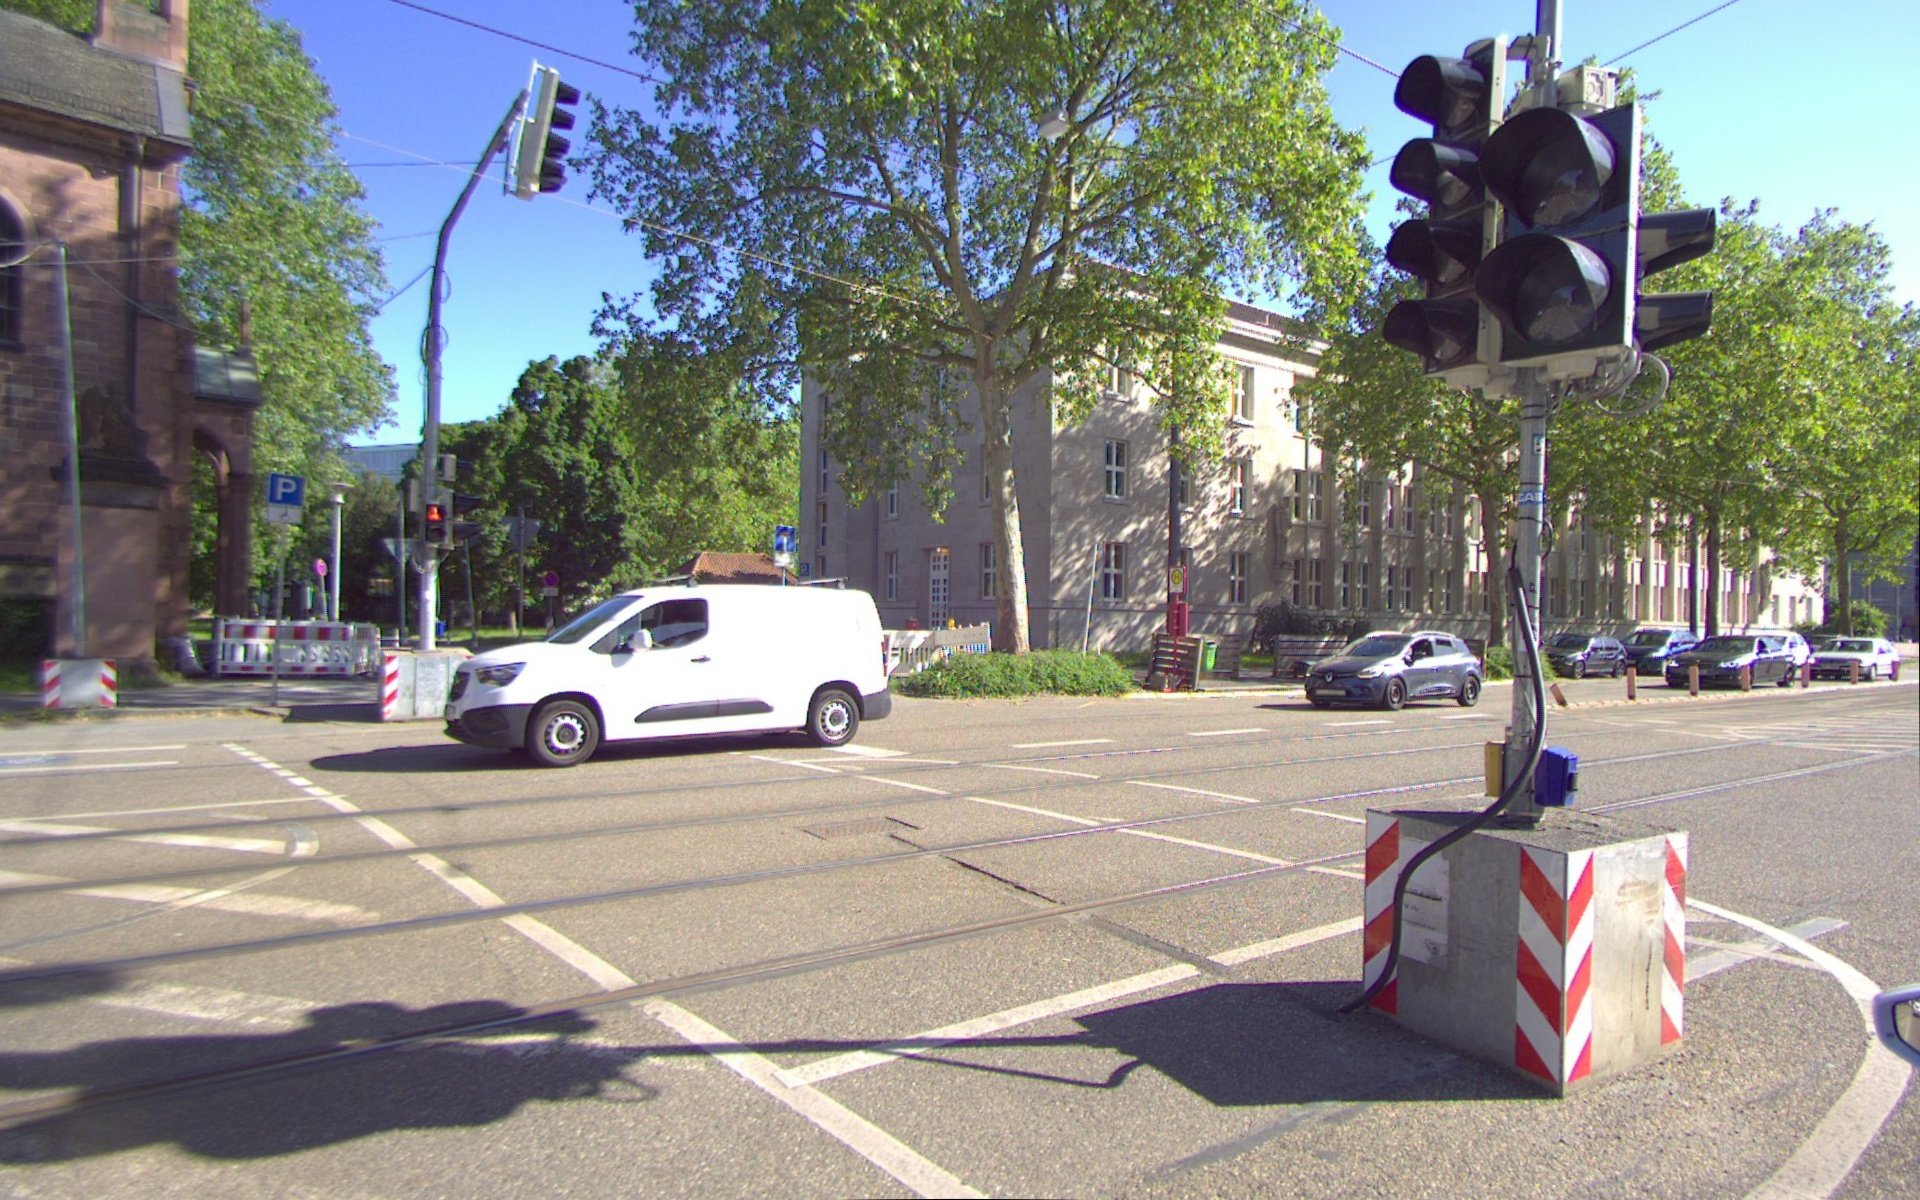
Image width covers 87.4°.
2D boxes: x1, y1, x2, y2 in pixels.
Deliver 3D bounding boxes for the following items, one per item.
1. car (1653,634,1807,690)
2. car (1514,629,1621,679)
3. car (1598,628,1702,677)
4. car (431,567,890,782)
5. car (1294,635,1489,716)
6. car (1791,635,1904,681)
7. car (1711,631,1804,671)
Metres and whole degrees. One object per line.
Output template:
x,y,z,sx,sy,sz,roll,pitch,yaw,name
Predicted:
21.838,1.715,28.439,4.904,1.472,1.821,2,-2,-31,car
20.416,1.778,33.697,4.150,1.568,1.660,2,-1,-37,car
25.152,1.874,36.582,4.354,1.661,1.817,2,-1,-37,car
-3.208,0.731,11.160,4.475,1.916,2.046,2,-2,-37,car
8.444,1.412,19.542,4.047,1.430,1.606,2,-3,-35,car
30.266,1.943,34.230,4.125,1.472,1.820,2,-2,-32,car
33.908,2.133,42.673,4.349,1.608,1.819,2,-2,-33,car
